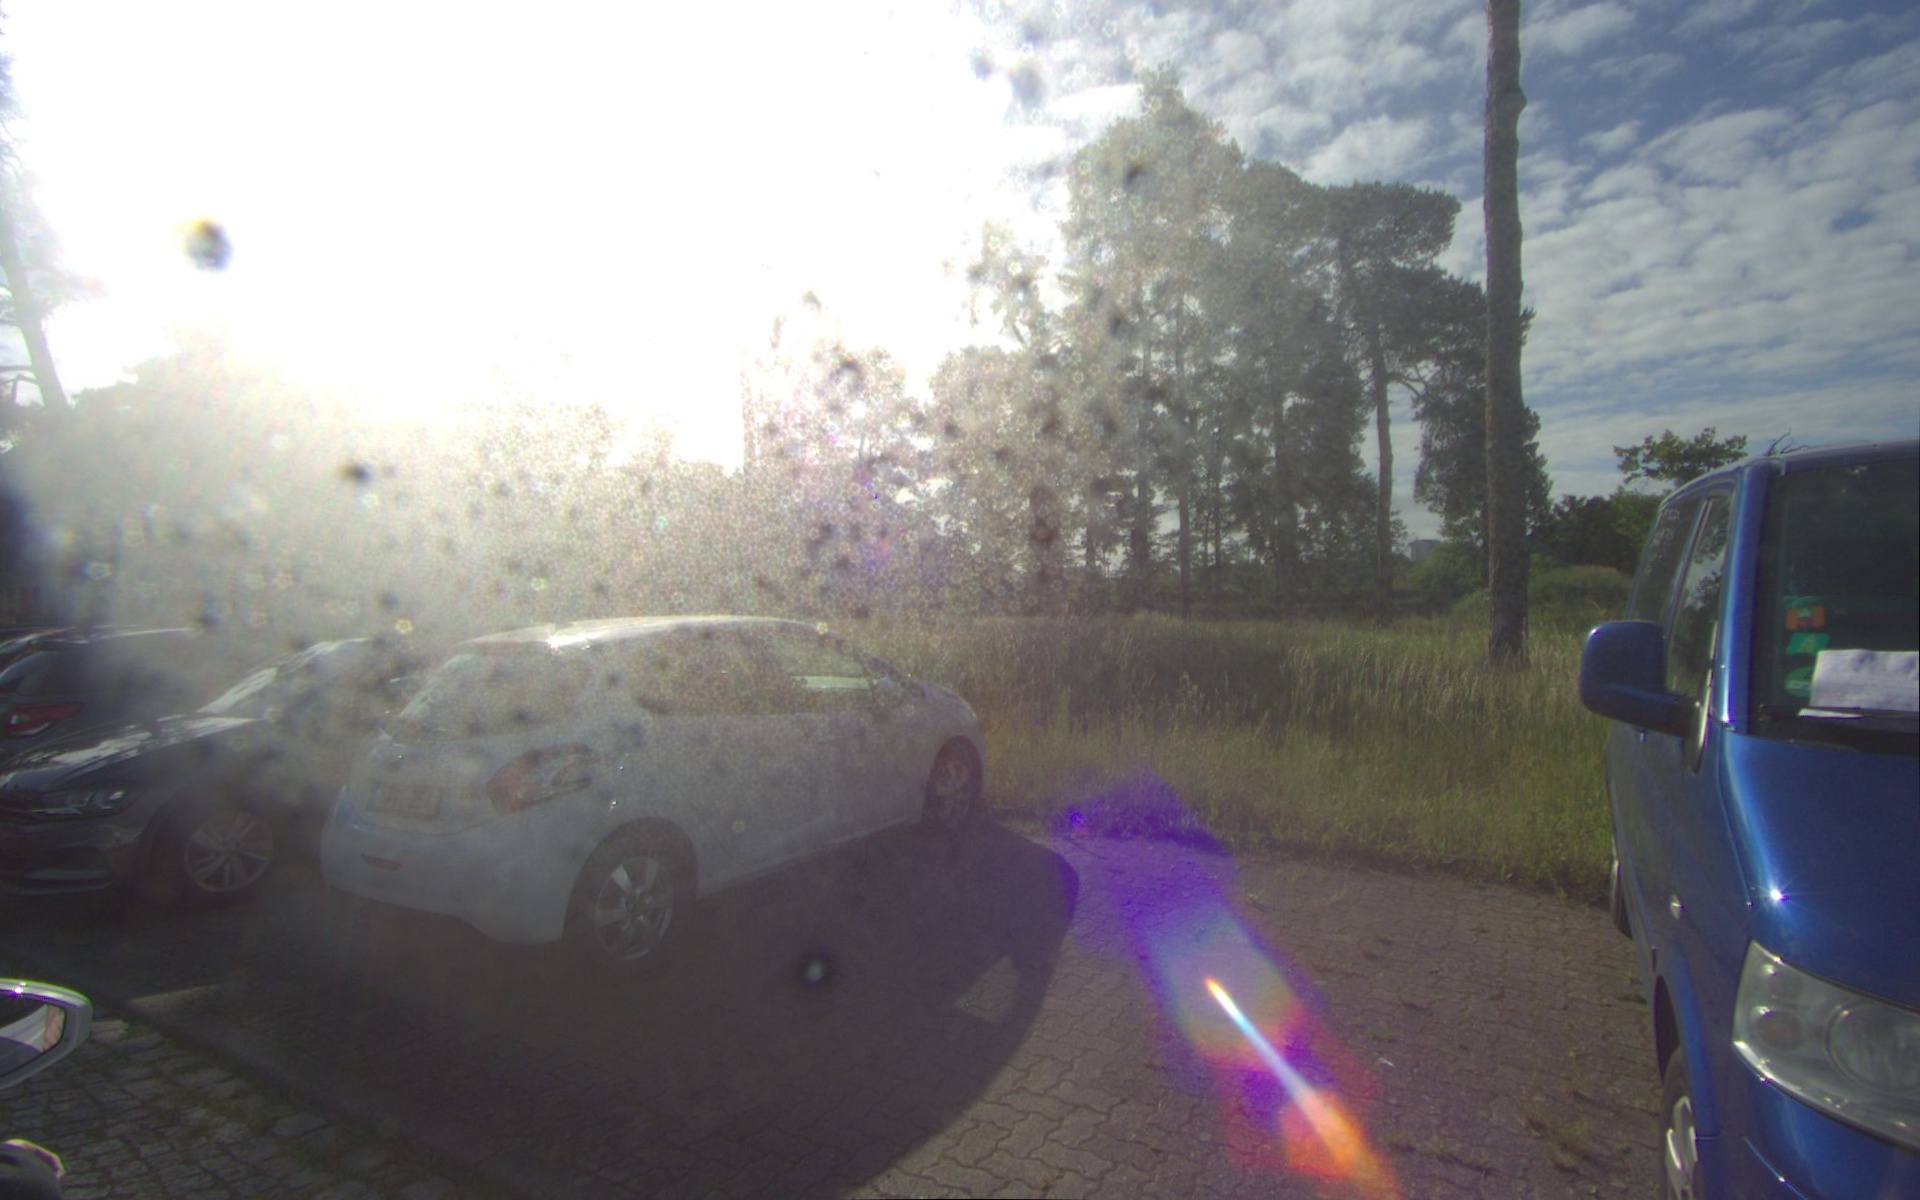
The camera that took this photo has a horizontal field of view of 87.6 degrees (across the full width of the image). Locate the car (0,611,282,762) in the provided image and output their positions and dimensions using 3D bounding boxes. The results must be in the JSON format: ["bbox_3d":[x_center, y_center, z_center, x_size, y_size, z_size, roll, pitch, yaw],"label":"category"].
[{"bbox_3d":[-10.335,0.932,11.296,1.613,1.469,4.118,0,1,32],"label":"car"}]

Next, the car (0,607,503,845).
[{"bbox_3d":[-6.214,0.856,8.698,1.790,1.469,3.699,0,1,31],"label":"car"}]

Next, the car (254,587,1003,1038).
[{"bbox_3d":[-1.426,0.745,5.589,1.736,1.555,3.698,0,1,32],"label":"car"}]

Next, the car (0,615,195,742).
[{"bbox_3d":[-12.288,0.982,12.144,1.755,1.434,4.422,0,1,32],"label":"car"}]

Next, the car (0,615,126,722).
[{"bbox_3d":[-14.513,1.013,13.636,1.613,1.434,4.549,0,1,32],"label":"car"}]

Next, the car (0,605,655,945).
[{"bbox_3d":[-4.125,0.829,6.691,1.829,1.469,3.698,0,1,32],"label":"car"}]

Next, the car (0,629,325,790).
[{"bbox_3d":[-8.587,1.002,9.727,1.721,1.240,3.698,0,1,32],"label":"car"}]

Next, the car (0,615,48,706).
[{"bbox_3d":[-16.735,1.019,15.254,1.613,1.434,3.873,0,1,32],"label":"car"}]

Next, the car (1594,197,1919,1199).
[{"bbox_3d":[3.198,0.341,3.081,1.971,1.961,4.689,-1,1,31],"label":"car"}]
